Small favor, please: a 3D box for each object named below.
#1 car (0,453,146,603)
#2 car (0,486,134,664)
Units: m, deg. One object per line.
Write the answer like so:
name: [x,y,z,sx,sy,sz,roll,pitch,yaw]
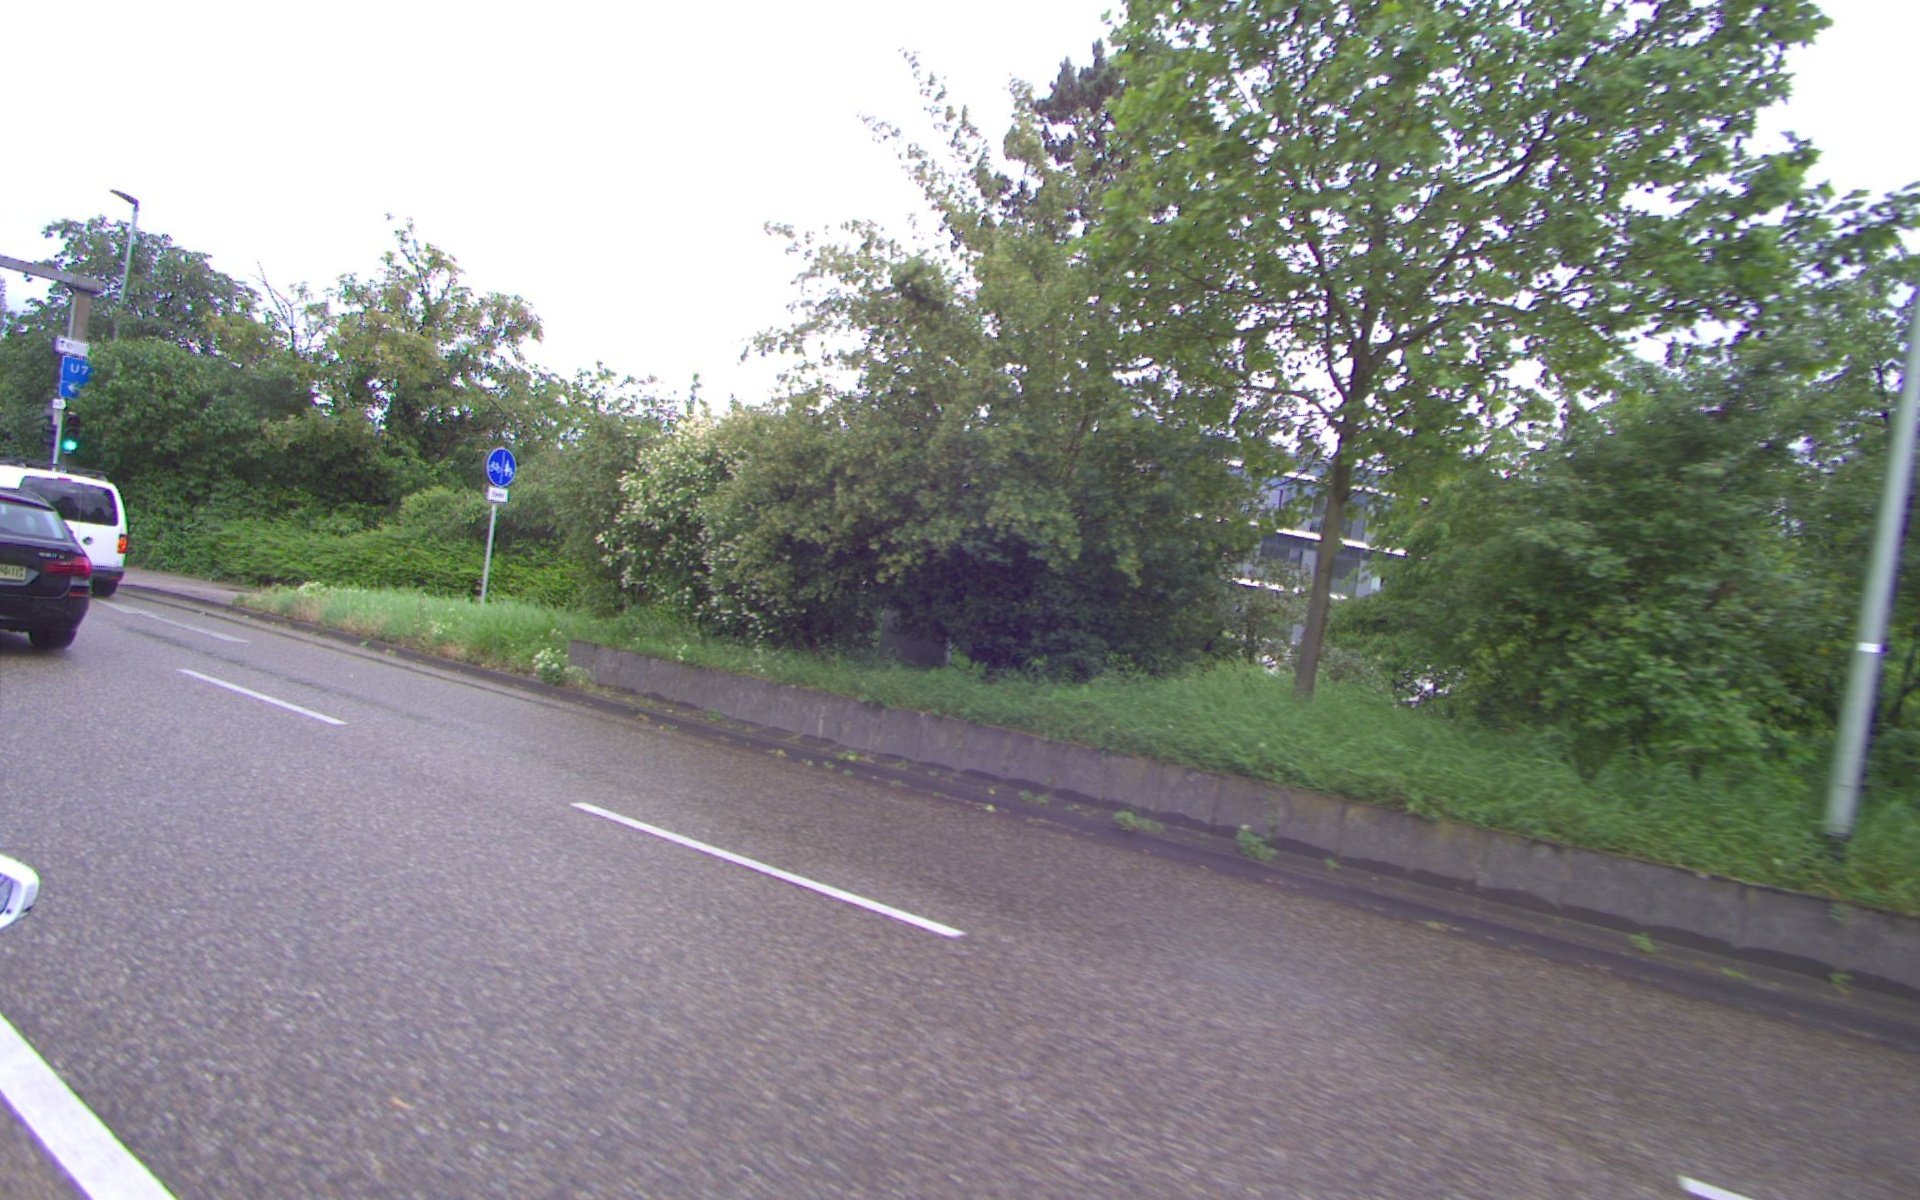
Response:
car: [-14.728,-1.259,15.807,3.742,1.900,1.767,10,1,32]
car: [-9.832,-0.451,9.495,3.934,1.458,1.902,8,-1,32]
